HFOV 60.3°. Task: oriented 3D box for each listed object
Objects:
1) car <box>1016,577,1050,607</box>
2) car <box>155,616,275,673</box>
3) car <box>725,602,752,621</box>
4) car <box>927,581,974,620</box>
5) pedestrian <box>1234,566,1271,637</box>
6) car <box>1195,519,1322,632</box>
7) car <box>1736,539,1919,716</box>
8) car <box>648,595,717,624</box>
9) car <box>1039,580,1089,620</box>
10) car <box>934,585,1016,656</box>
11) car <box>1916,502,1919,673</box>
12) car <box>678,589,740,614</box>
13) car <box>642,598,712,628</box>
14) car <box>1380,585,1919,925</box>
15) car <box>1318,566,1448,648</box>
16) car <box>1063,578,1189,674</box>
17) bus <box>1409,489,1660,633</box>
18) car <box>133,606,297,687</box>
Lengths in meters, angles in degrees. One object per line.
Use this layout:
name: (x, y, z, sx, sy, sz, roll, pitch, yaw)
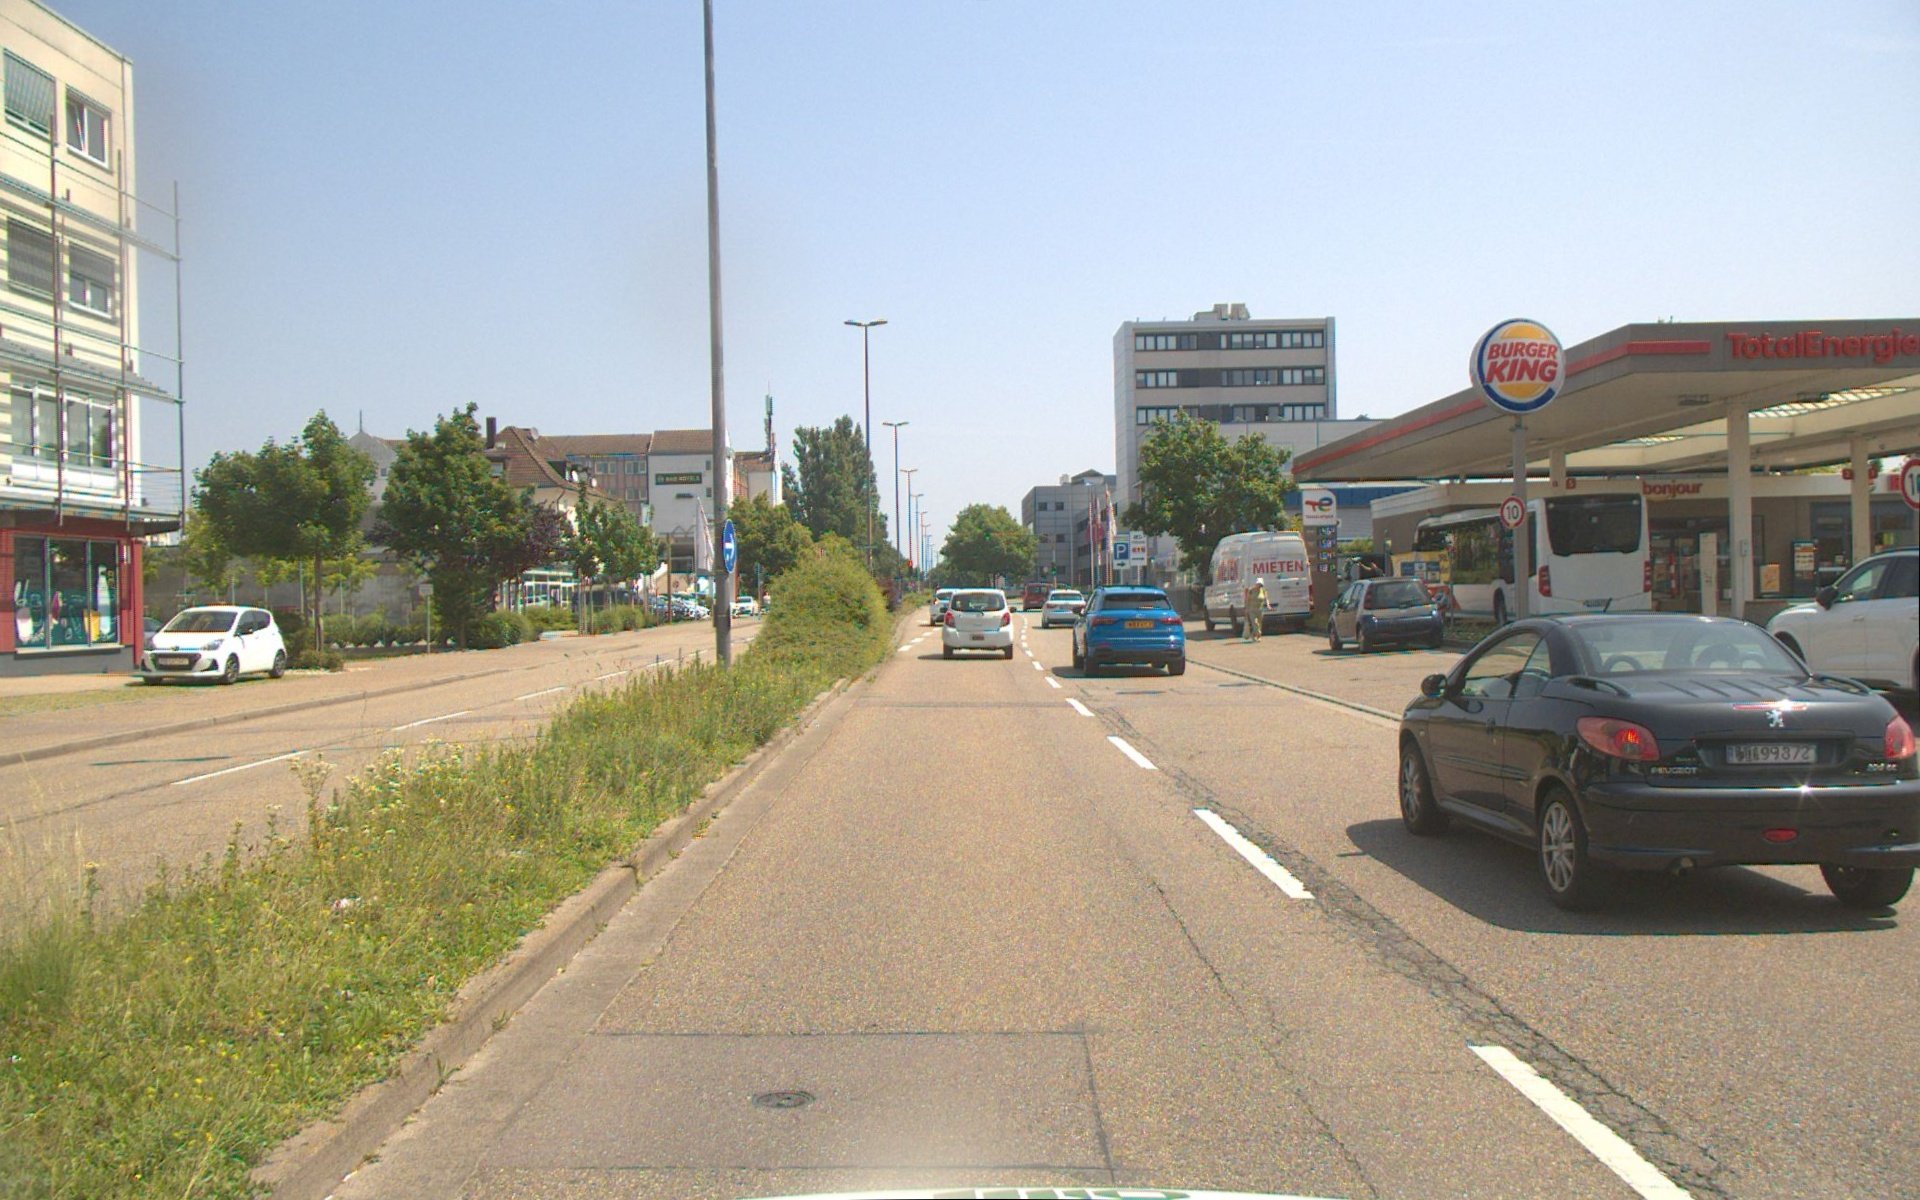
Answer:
car: (4.616, -0.493, 105.154, 1.759, 1.759, 3.970, 0, -1, -3)
car: (-22.065, 1.328, 49.166, 1.733, 1.574, 3.999, -2, -2, 0)
car: (-16.672, 0.878, 124.665, 1.865, 1.378, 3.995, 0, -2, -6)
car: (-0.354, 0.049, 66.960, 1.792, 1.475, 4.000, 0, -1, 1)
pedestrian: (7.437, 0.040, 42.056, 0.798, 1.779, 0.703, 0, -1, -1)
car: (8.511, -0.669, 47.932, 2.090, 2.889, 7.308, -3, 0, -1)
car: (9.583, 0.210, 16.246, 1.633, 1.623, 4.612, -3, 0, -1)
car: (-17.449, 0.604, 103.906, 3.938, 1.761, 1.891, 1, -2, -26)
car: (3.880, 0.002, 62.274, 1.633, 1.424, 3.793, -1, 0, 0)
car: (0.298, 0.460, 37.679, 1.678, 1.537, 3.245, 0, 0, -3)
car: (11.924, -0.112, 16.237, 1.953, 2.058, 5.159, -1, 0, -2)
car: (-17.070, 0.095, 112.506, 3.904, 1.579, 1.865, -1, -2, 2)
car: (-16.926, 0.813, 99.147, 3.907, 1.713, 1.998, 0, -2, -3)
car: (3.589, 0.671, 9.043, 1.567, 1.450, 3.660, -1, 0, -1)
car: (8.734, 0.136, 34.435, 1.624, 1.545, 3.819, -3, 0, -1)
car: (3.039, 0.425, 31.118, 1.874, 1.625, 4.395, -1, 1, -1)
bus: (14.433, -0.988, 42.879, 2.746, 3.132, 12.290, -1, 1, 3)
car: (-14.898, 0.885, 33.306, 1.645, 1.521, 4.040, 0, 0, -3)
